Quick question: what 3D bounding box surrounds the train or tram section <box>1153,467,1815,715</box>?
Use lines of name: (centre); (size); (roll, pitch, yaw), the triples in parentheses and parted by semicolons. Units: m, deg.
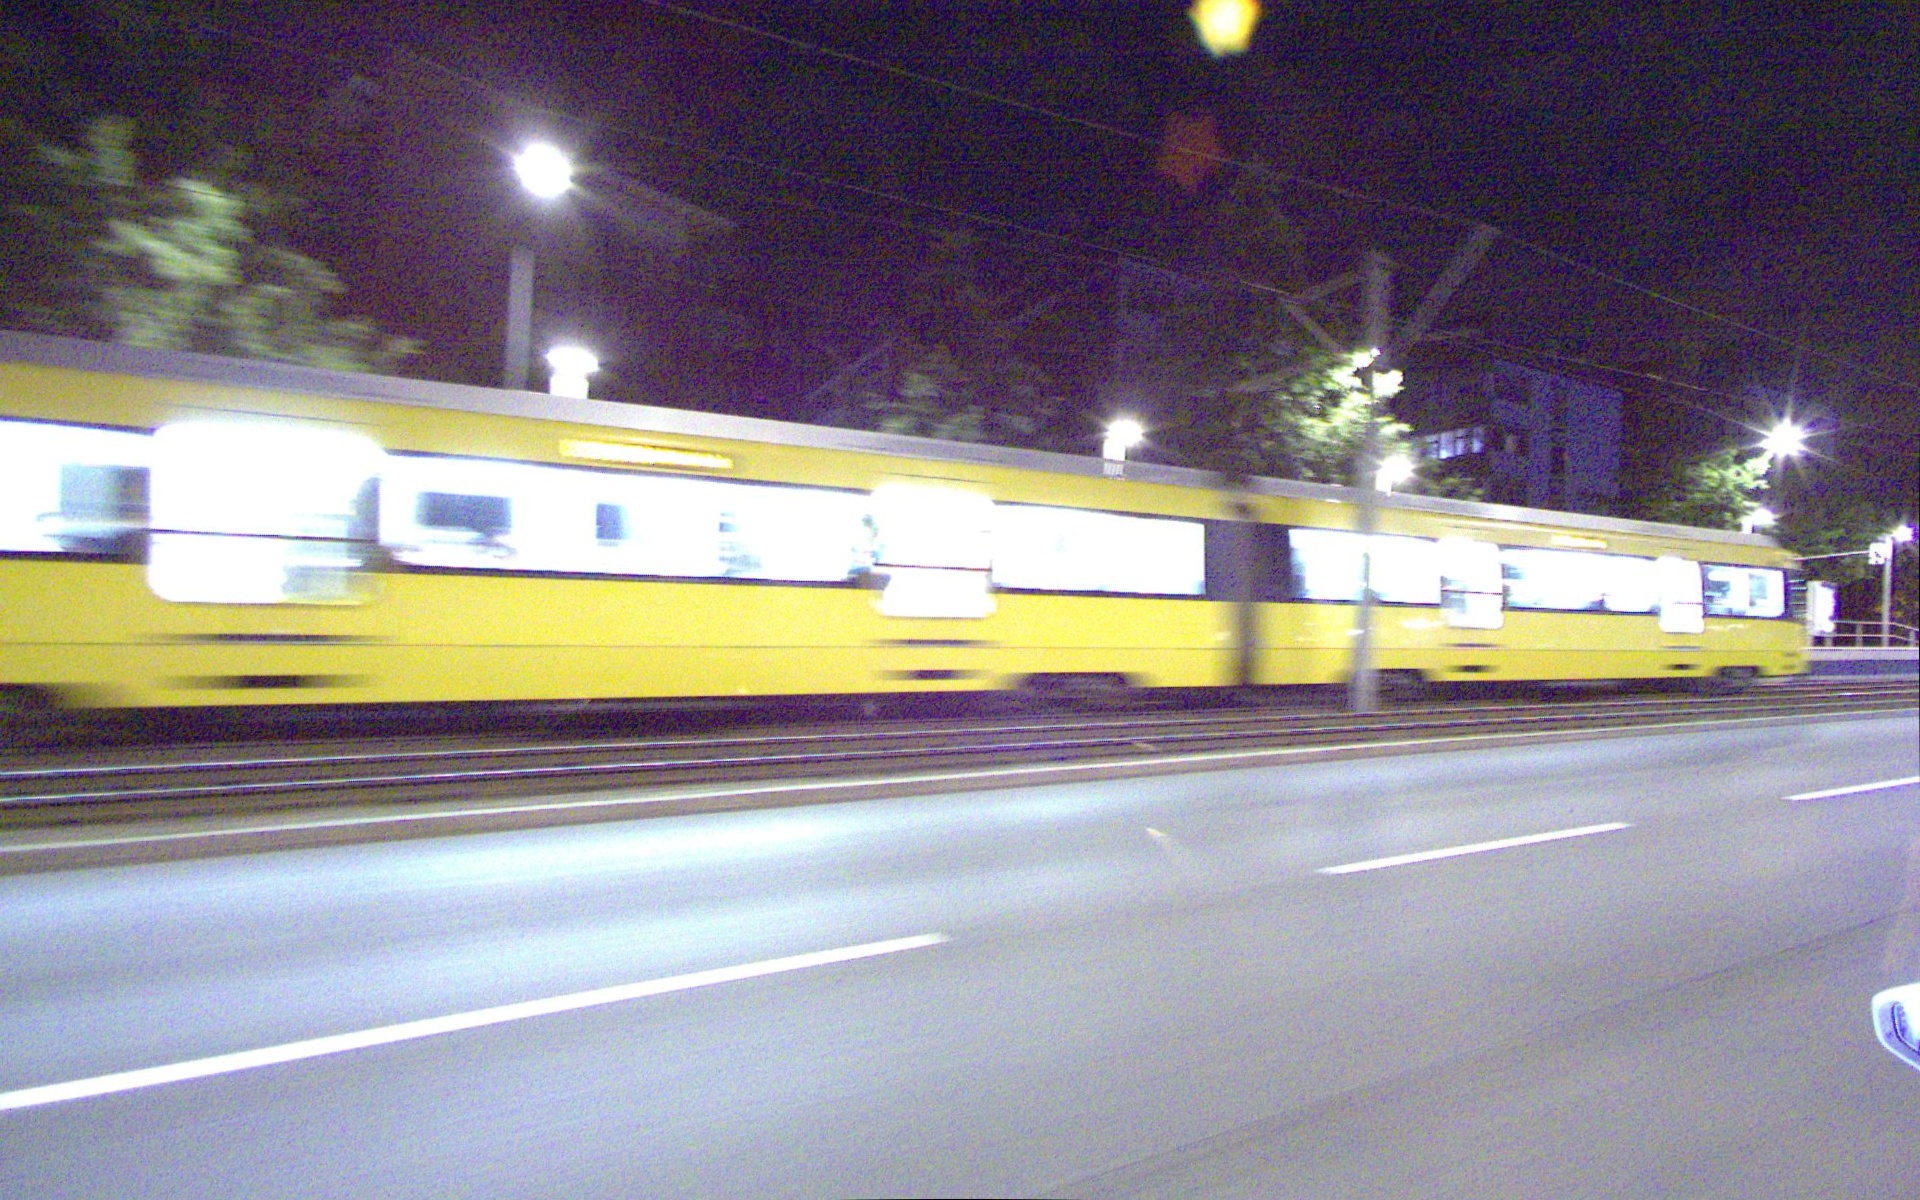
train or tram section: (12.220, 0.090, 21.374); (18.441, 3.878, 2.747); (2, -1, -29)

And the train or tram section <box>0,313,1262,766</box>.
train or tram section: (-4.326, -0.380, 12.331); (19.124, 3.897, 2.727); (2, -1, -29)
